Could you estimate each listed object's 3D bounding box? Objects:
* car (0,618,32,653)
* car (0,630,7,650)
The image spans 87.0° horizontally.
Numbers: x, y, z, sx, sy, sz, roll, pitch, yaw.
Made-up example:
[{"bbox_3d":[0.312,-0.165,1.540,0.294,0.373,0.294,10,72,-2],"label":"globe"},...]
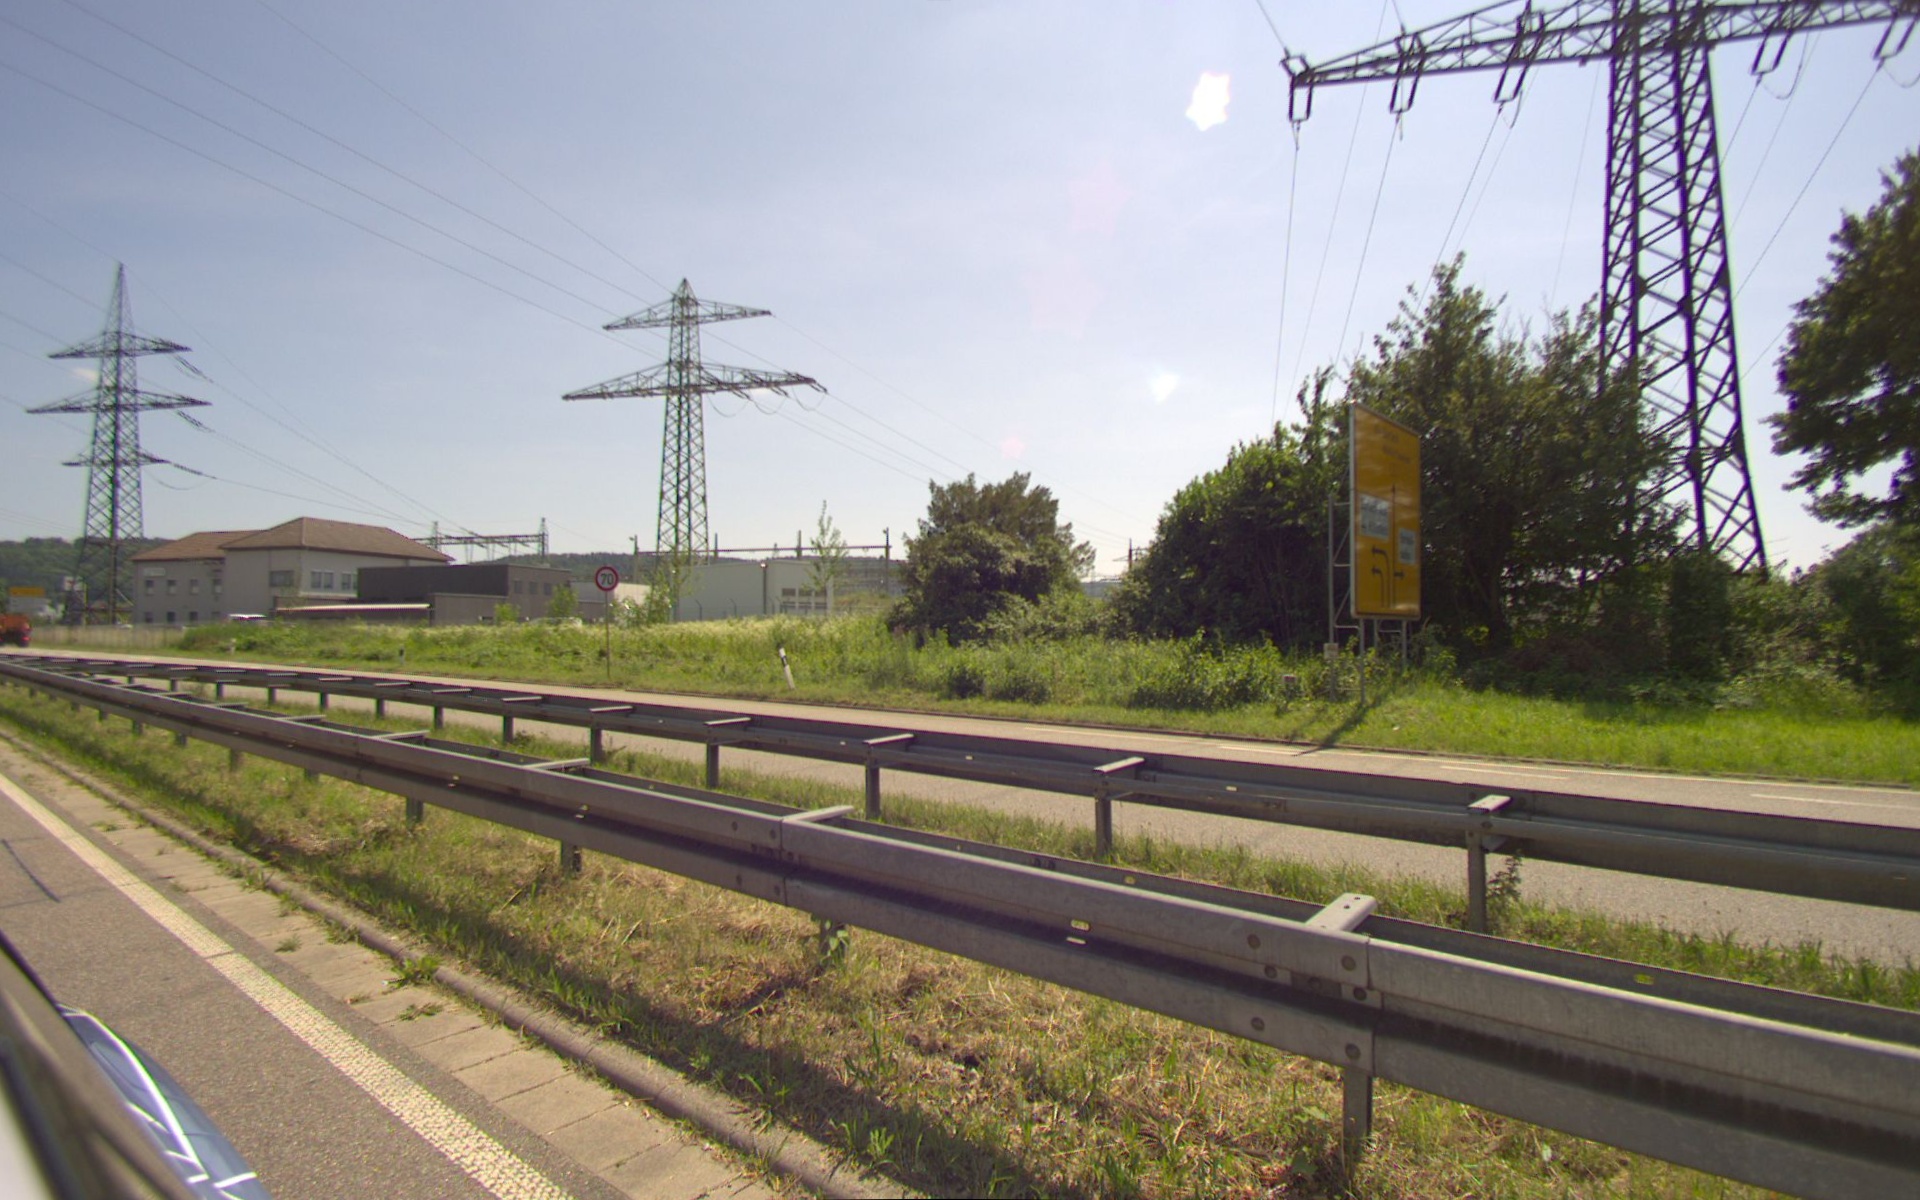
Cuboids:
[{"bbox_3d":[-87.792,3.263,93.233,5.634,3.084,2.574,-2,-3,40],"label":"car"},{"bbox_3d":[-95.433,3.913,99.411,3.993,1.929,1.975,0,0,37],"label":"car"}]
